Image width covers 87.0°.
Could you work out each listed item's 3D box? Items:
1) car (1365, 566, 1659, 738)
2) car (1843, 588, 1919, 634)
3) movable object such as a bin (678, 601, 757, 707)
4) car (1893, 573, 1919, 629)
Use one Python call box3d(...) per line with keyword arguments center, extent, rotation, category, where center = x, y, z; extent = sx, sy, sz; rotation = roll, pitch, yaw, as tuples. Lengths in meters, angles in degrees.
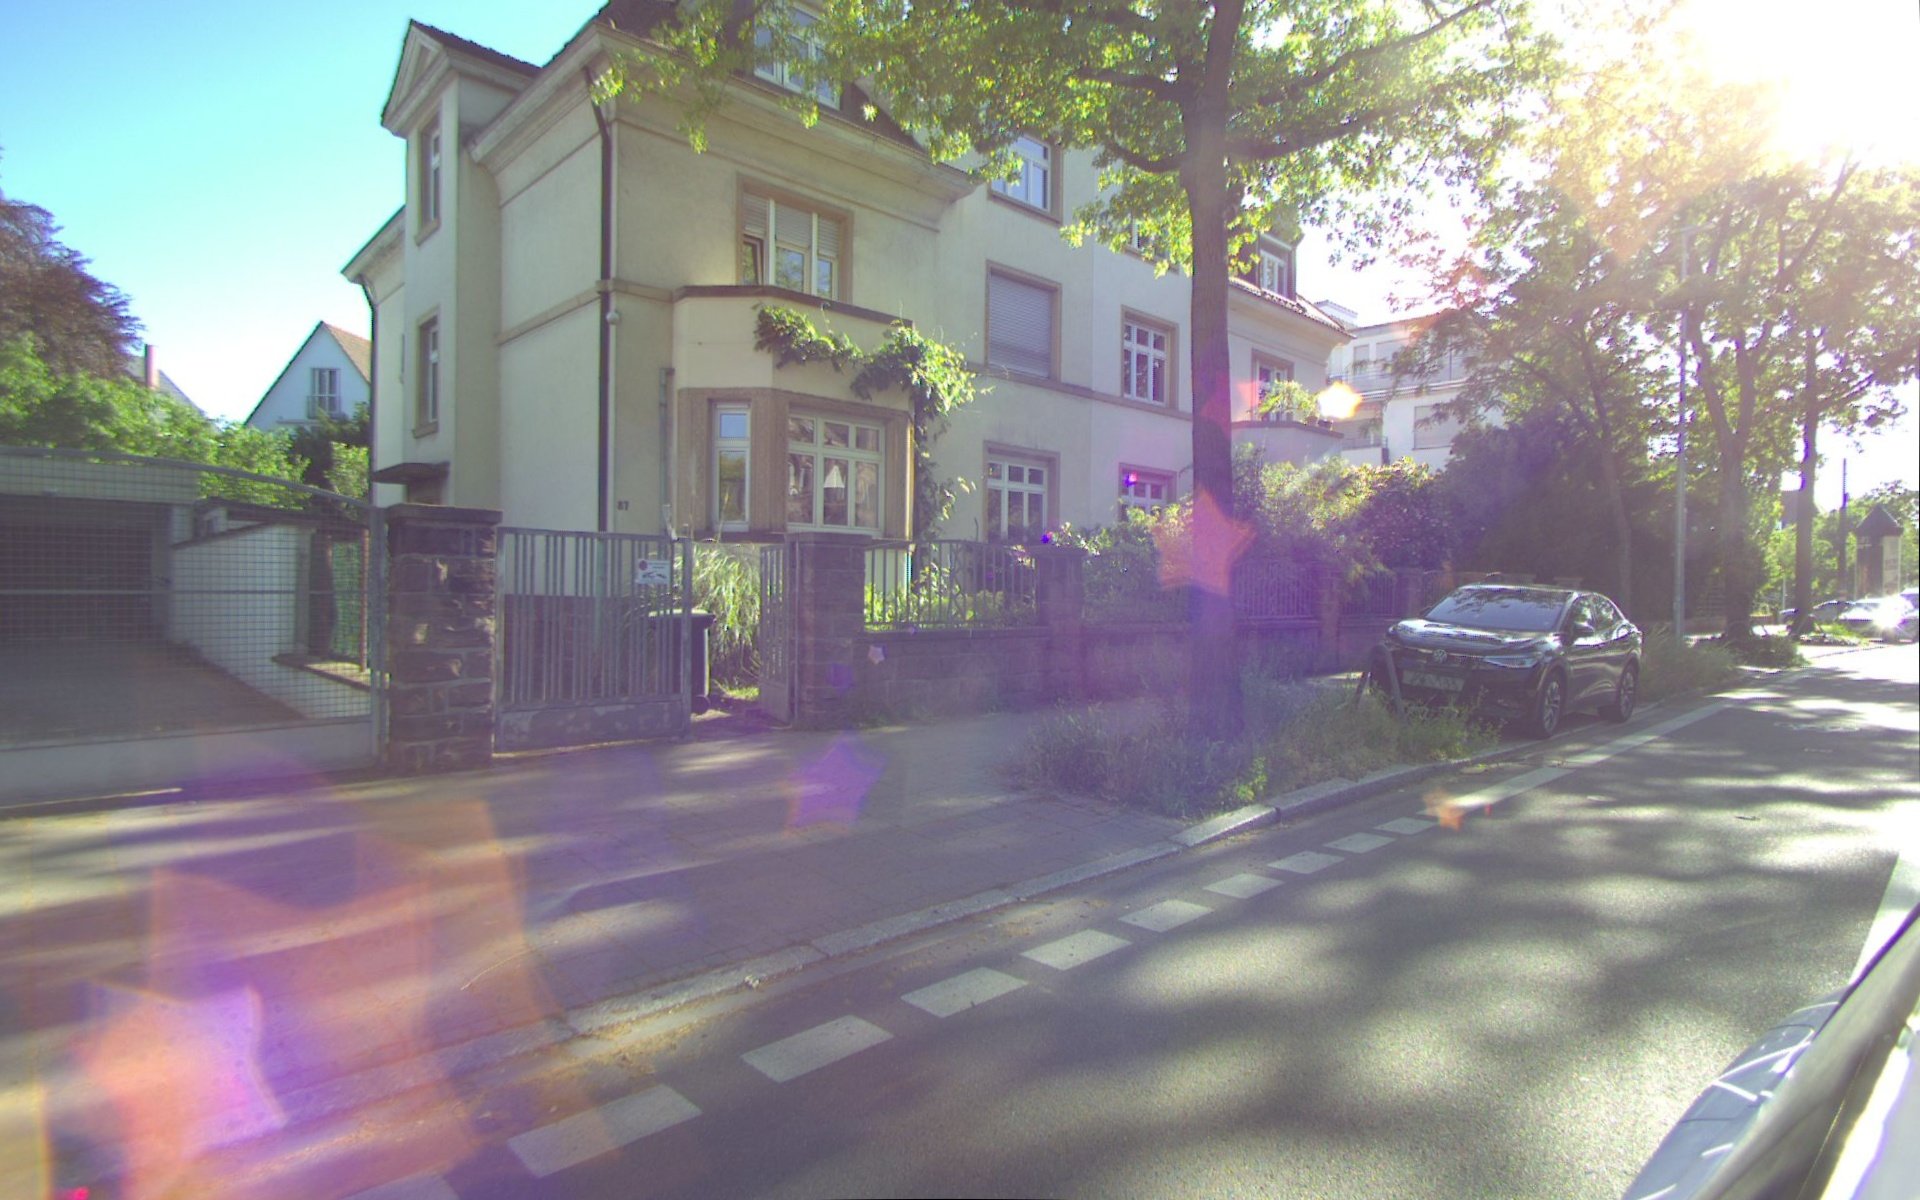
box3d(center=(6.668, 0.492, 12.049), extent=(4.021, 1.626, 1.743), rotation=(0, 4, -42), category="car")
box3d(center=(31.555, 0.334, 34.414), extent=(3.930, 1.469, 1.785), rotation=(0, 1, -41), category="car")
box3d(center=(-2.655, 0.556, 11.015), extent=(0.697, 1.070, 1.093), rotation=(0, 0, -20), category="movable object such as a bin")
box3d(center=(36.791, 0.046, 38.075), extent=(4.503, 2.039, 1.997), rotation=(0, 1, -41), category="car")
